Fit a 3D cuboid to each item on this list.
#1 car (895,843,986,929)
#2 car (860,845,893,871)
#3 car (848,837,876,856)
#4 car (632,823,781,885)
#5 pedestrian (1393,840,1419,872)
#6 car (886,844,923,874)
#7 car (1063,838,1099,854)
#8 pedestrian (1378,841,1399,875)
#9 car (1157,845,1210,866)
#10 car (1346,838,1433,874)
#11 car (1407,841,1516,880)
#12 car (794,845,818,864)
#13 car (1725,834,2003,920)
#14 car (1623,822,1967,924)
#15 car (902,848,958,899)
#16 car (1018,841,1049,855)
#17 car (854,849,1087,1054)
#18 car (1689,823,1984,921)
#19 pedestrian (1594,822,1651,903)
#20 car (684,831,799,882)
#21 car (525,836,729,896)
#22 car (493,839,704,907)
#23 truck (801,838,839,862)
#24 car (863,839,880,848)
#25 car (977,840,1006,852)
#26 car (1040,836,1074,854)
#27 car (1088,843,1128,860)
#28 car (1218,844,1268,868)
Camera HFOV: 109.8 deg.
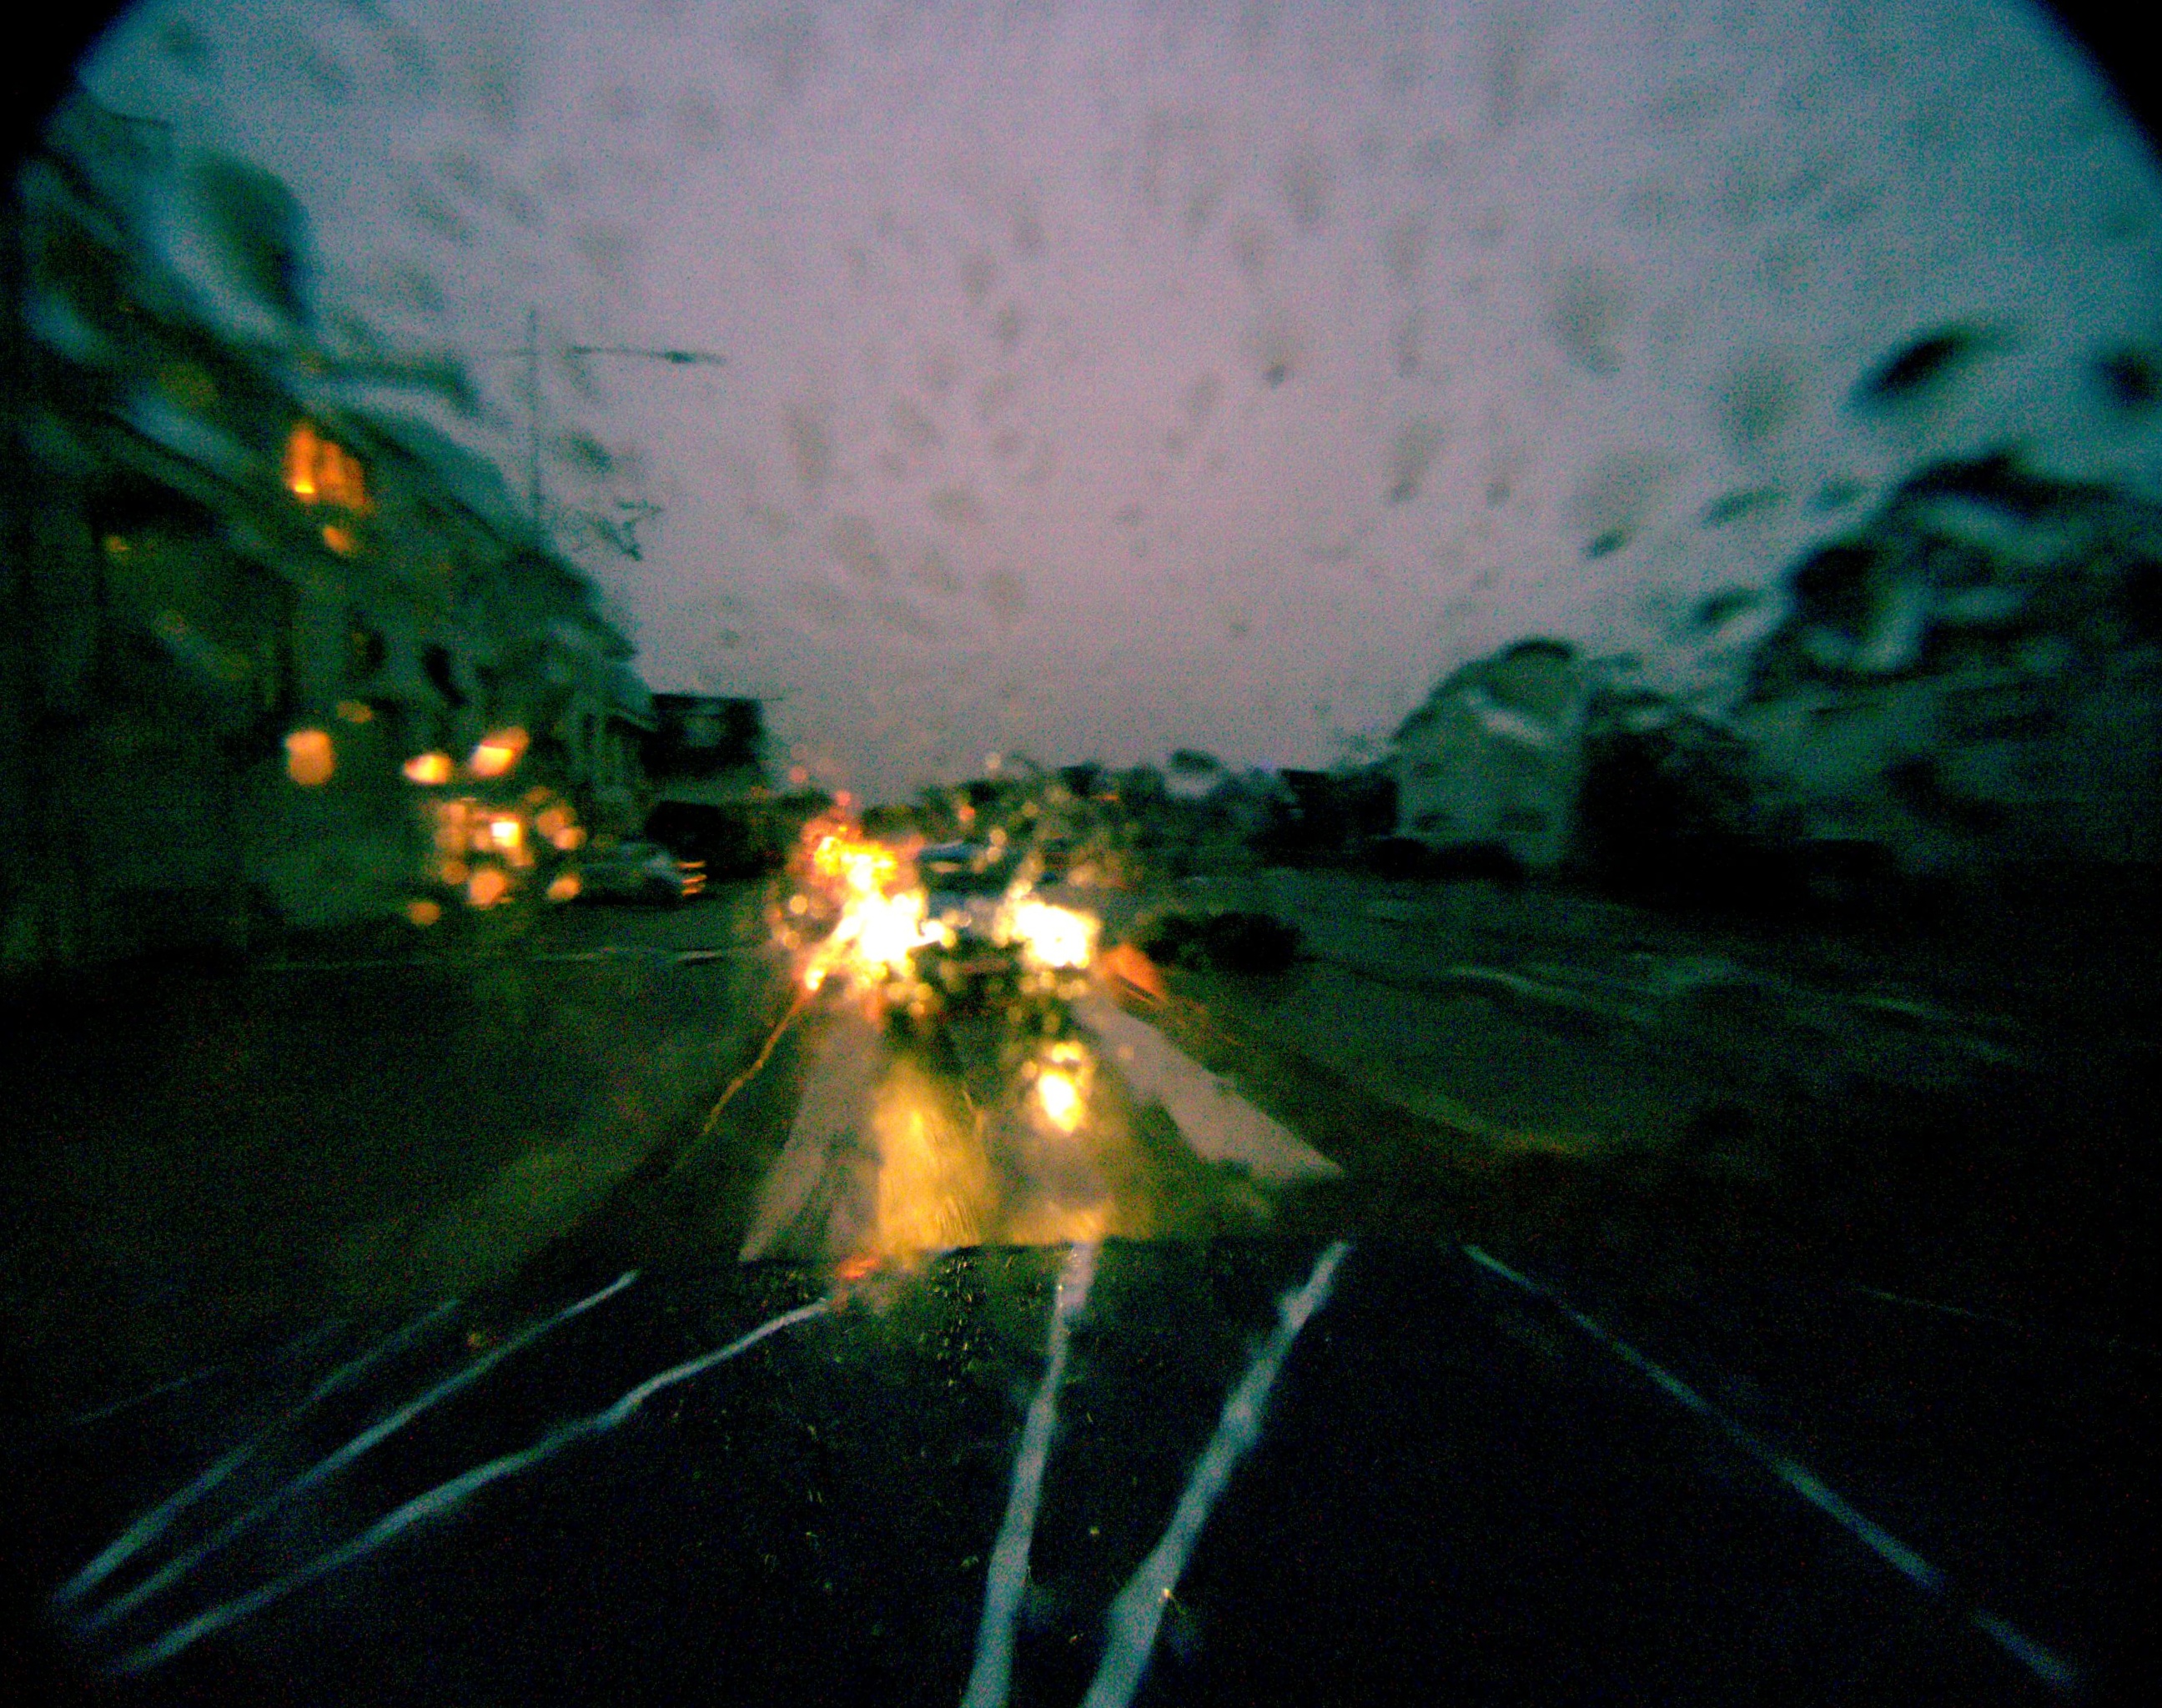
[{"bbox_3d":[-3.186,0.612,16.694,1.683,1.615,3.995,-1,0,-14],"label":"car"},{"bbox_3d":[-13.717,0.233,50.820,1.836,1.535,3.708,-2,2,-19],"label":"car"},{"bbox_3d":[-25.191,-0.887,87.469,2.003,2.002,3.989,-3,2,-32],"label":"car"},{"bbox_3d":[-13.571,0.006,27.877,4.558,1.923,1.972,4,0,-17],"label":"car"},{"bbox_3d":[12.725,0.075,29.733,0.693,1.242,0.602,-2,2,-18],"label":"pedestrian"},{"bbox_3d":[-9.443,0.247,40.474,1.743,1.435,3.994,-3,2,-14],"label":"car"},{"bbox_3d":[-0.041,-0.765,73.017,1.802,1.460,4.247,-1,1,-27],"label":"car"},{"bbox_3d":[11.899,0.162,29.385,0.601,1.294,0.512,0,2,39],"label":"pedestrian"},{"bbox_3d":[7.634,0.093,56.923,1.802,1.460,4.247,-1,1,-27],"label":"car"},{"bbox_3d":[15.134,0.059,37.474,1.706,1.651,3.951,-2,2,-22],"label":"car"},{"bbox_3d":[16.533,0.237,33.219,1.782,1.561,4.085,-2,2,-22],"label":"car"},{"bbox_3d":[-23.588,0.052,65.243,1.851,1.577,3.762,-1,1,-21],"label":"car"},{"bbox_3d":[16.620,0.433,16.371,1.769,1.621,3.988,1,0,-44],"label":"car"},{"bbox_3d":[12.177,0.259,13.400,4.168,1.522,1.918,1,1,38],"label":"car"},{"bbox_3d":[-5.043,0.580,25.085,1.573,1.460,3.611,-3,1,-14],"label":"car"},{"bbox_3d":[-5.158,-0.643,82.524,1.679,1.460,4.007,1,0,-31],"label":"car"},{"bbox_3d":[-1.433,0.773,8.316,1.890,1.570,3.994,-3,1,-16],"label":"car"},{"bbox_3d":[14.463,0.298,14.861,3.885,1.660,1.844,1,0,42],"label":"car"},{"bbox_3d":[11.639,0.179,16.354,0.723,1.702,0.842,1,1,14],"label":"pedestrian"},{"bbox_3d":[-14.087,0.128,31.732,4.158,1.625,1.751,7,-2,-23],"label":"car"},{"bbox_3d":[-12.447,0.342,21.217,4.527,1.483,1.971,2,0,-18],"label":"car"},{"bbox_3d":[-11.321,0.441,18.193,4.005,1.494,1.809,1,1,-23],"label":"car"},{"bbox_3d":[-25.595,-0.414,74.387,2.252,2.218,6.088,-3,2,-31],"label":"truck"},{"bbox_3d":[-36.941,-1.890,134.048,1.803,1.460,4.246,-1,2,-32],"label":"car"},{"bbox_3d":[-11.003,-0.958,92.955,1.803,1.460,4.604,-1,1,-31],"label":"car"},{"bbox_3d":[-2.479,-0.940,77.410,1.802,1.817,4.247,-1,1,-27],"label":"car"},{"bbox_3d":[2.392,-0.241,68.436,1.802,1.460,4.247,-1,1,-27],"label":"car"},{"bbox_3d":[10.512,0.080,49.498,1.480,1.500,3.496,-1,1,-23],"label":"car"}]
